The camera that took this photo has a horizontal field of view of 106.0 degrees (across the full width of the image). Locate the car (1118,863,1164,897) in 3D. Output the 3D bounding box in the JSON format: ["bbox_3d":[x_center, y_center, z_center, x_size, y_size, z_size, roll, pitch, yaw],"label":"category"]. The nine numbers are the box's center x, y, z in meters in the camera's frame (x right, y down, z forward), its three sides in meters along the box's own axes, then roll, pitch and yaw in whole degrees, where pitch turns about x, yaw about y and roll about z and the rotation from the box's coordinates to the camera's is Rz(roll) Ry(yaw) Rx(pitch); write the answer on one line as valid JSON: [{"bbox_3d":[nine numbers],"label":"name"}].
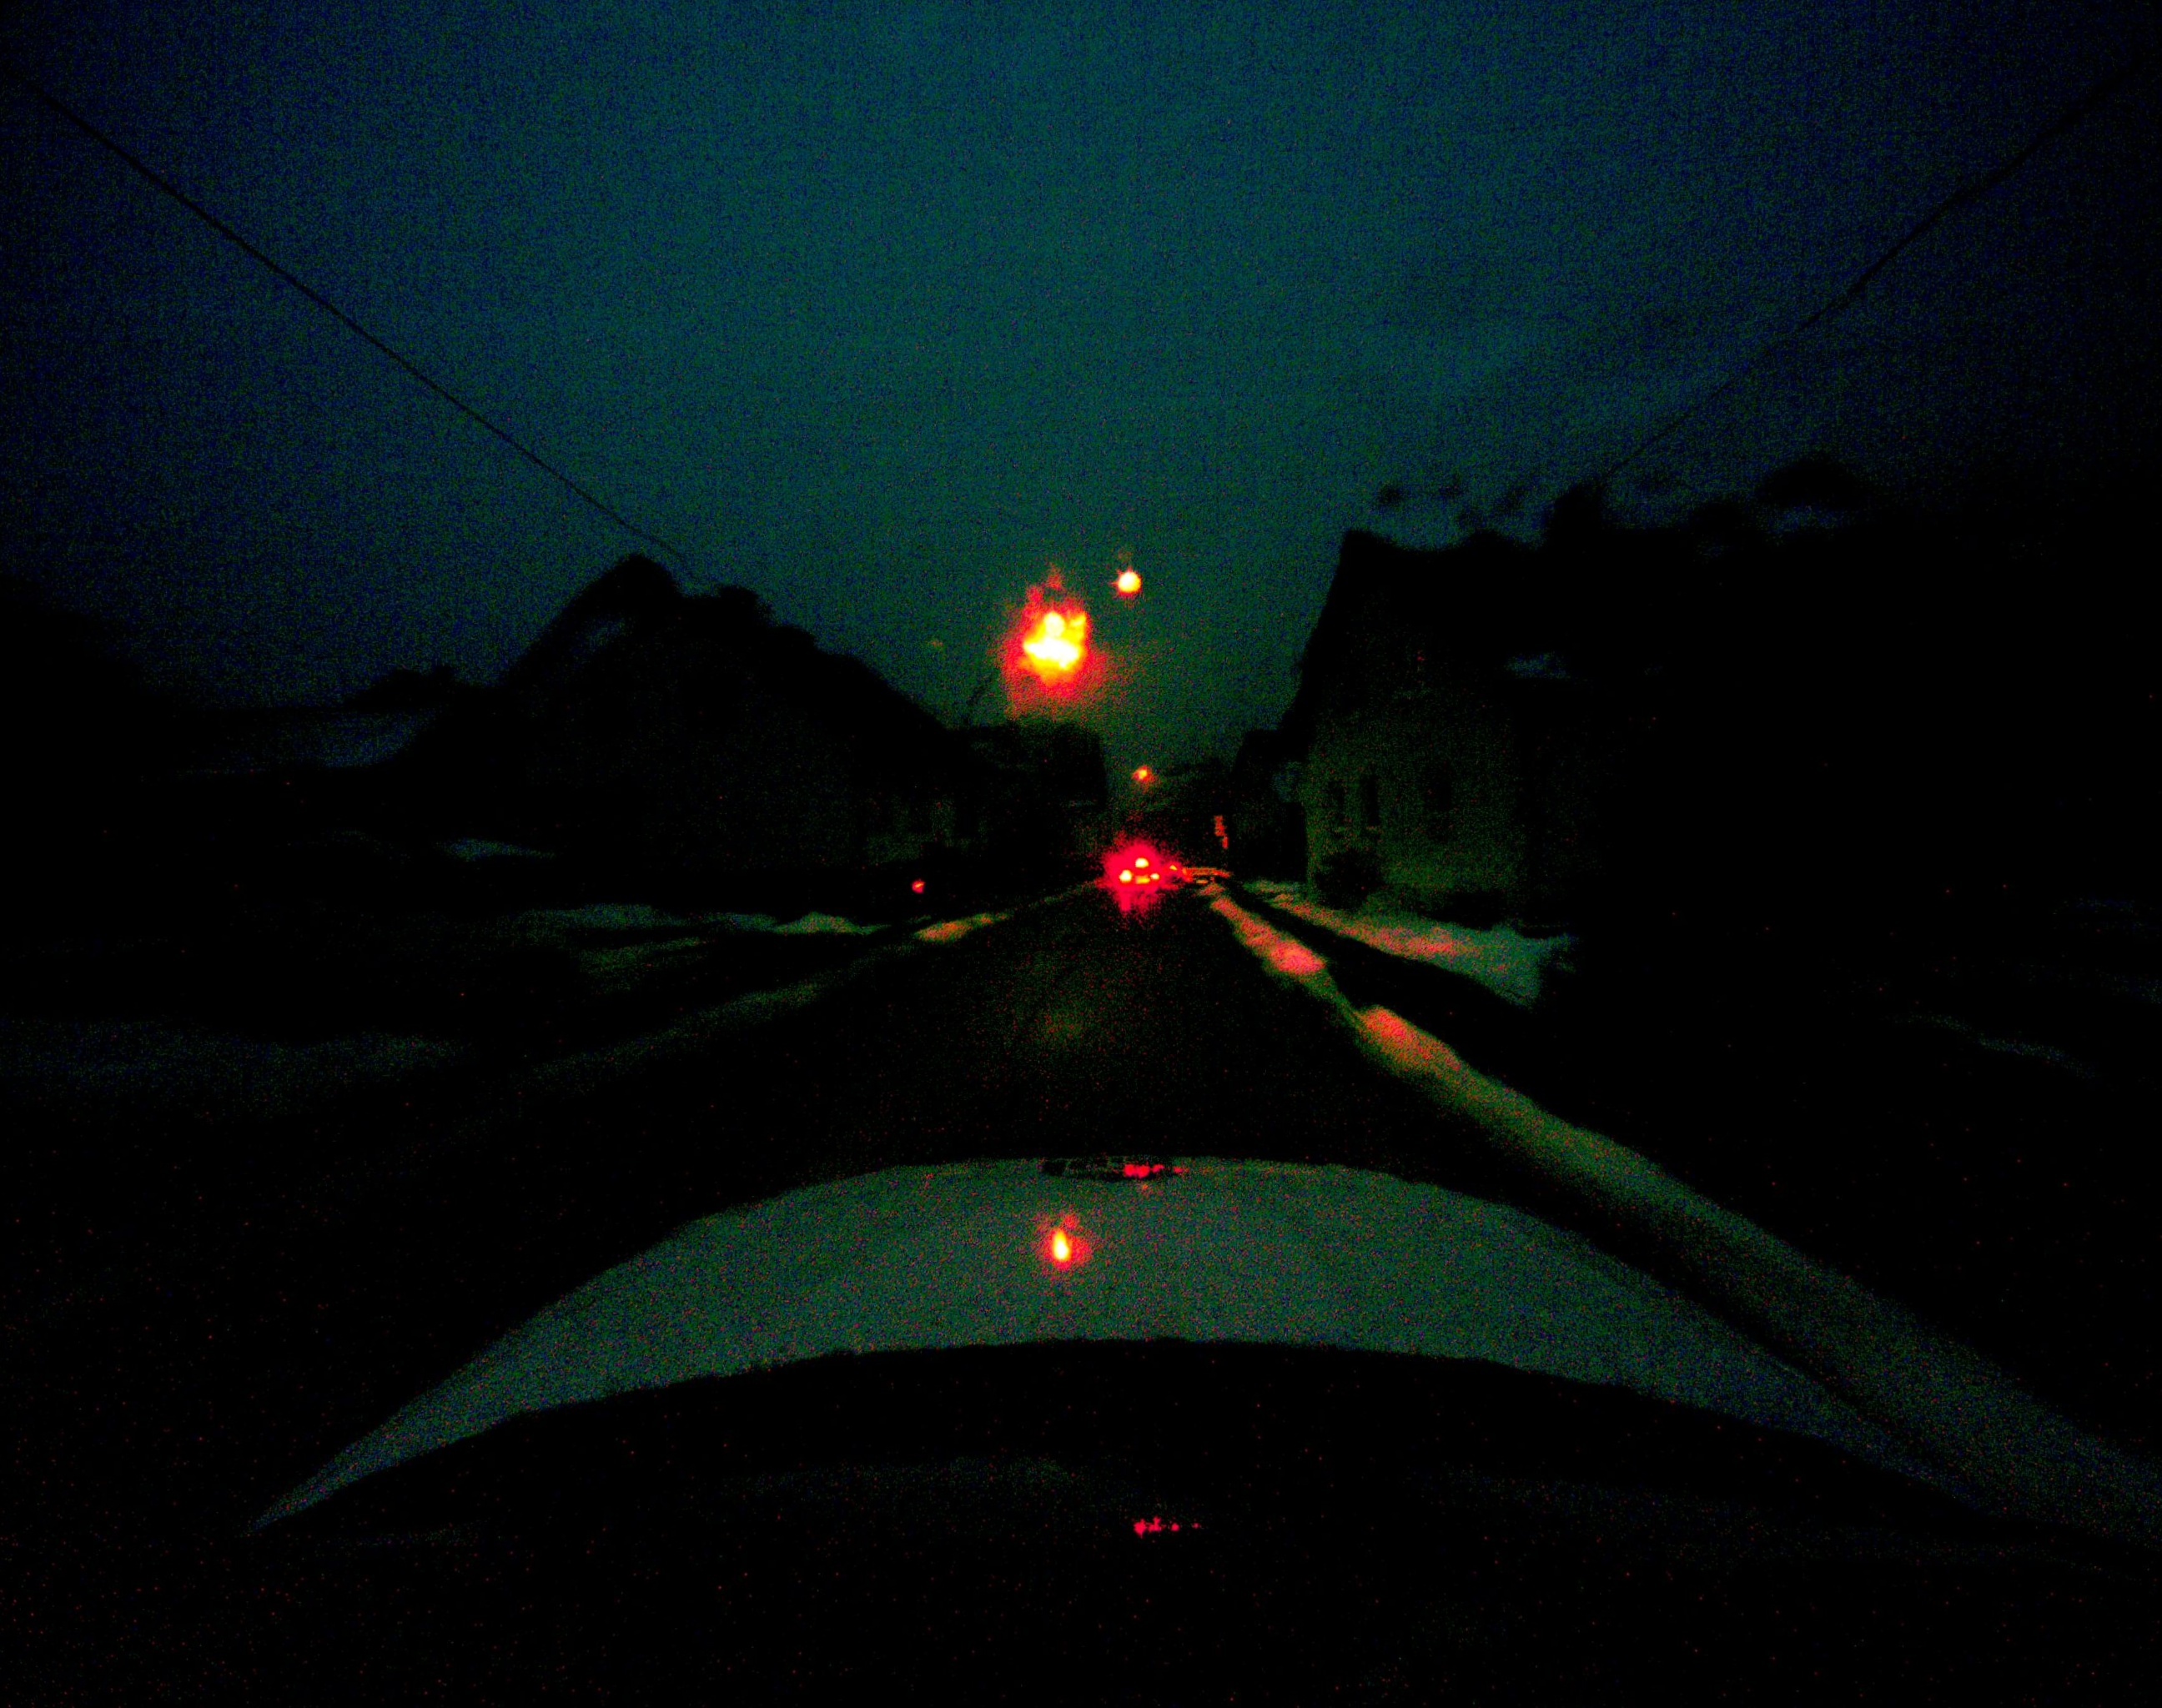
[{"bbox_3d":[2.875,1.213,38.049,1.983,1.508,4.006,-1,-2,6],"label":"car"}]

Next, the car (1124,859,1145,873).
[{"bbox_3d":[6.062,1.365,92.587,1.905,1.481,4.278,-3,0,-2],"label":"car"}]

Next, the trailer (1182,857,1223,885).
[{"bbox_3d":[6.337,0.840,42.121,1.981,1.388,4.744,-1,0,10],"label":"trailer"}]

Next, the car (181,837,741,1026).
[{"bbox_3d":[-6.372,0.691,8.630,4.763,1.666,1.895,1,0,9],"label":"car"}]

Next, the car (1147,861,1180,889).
[{"bbox_3d":[5.247,1.322,51.467,1.983,1.728,4.007,-1,-2,7],"label":"car"}]
